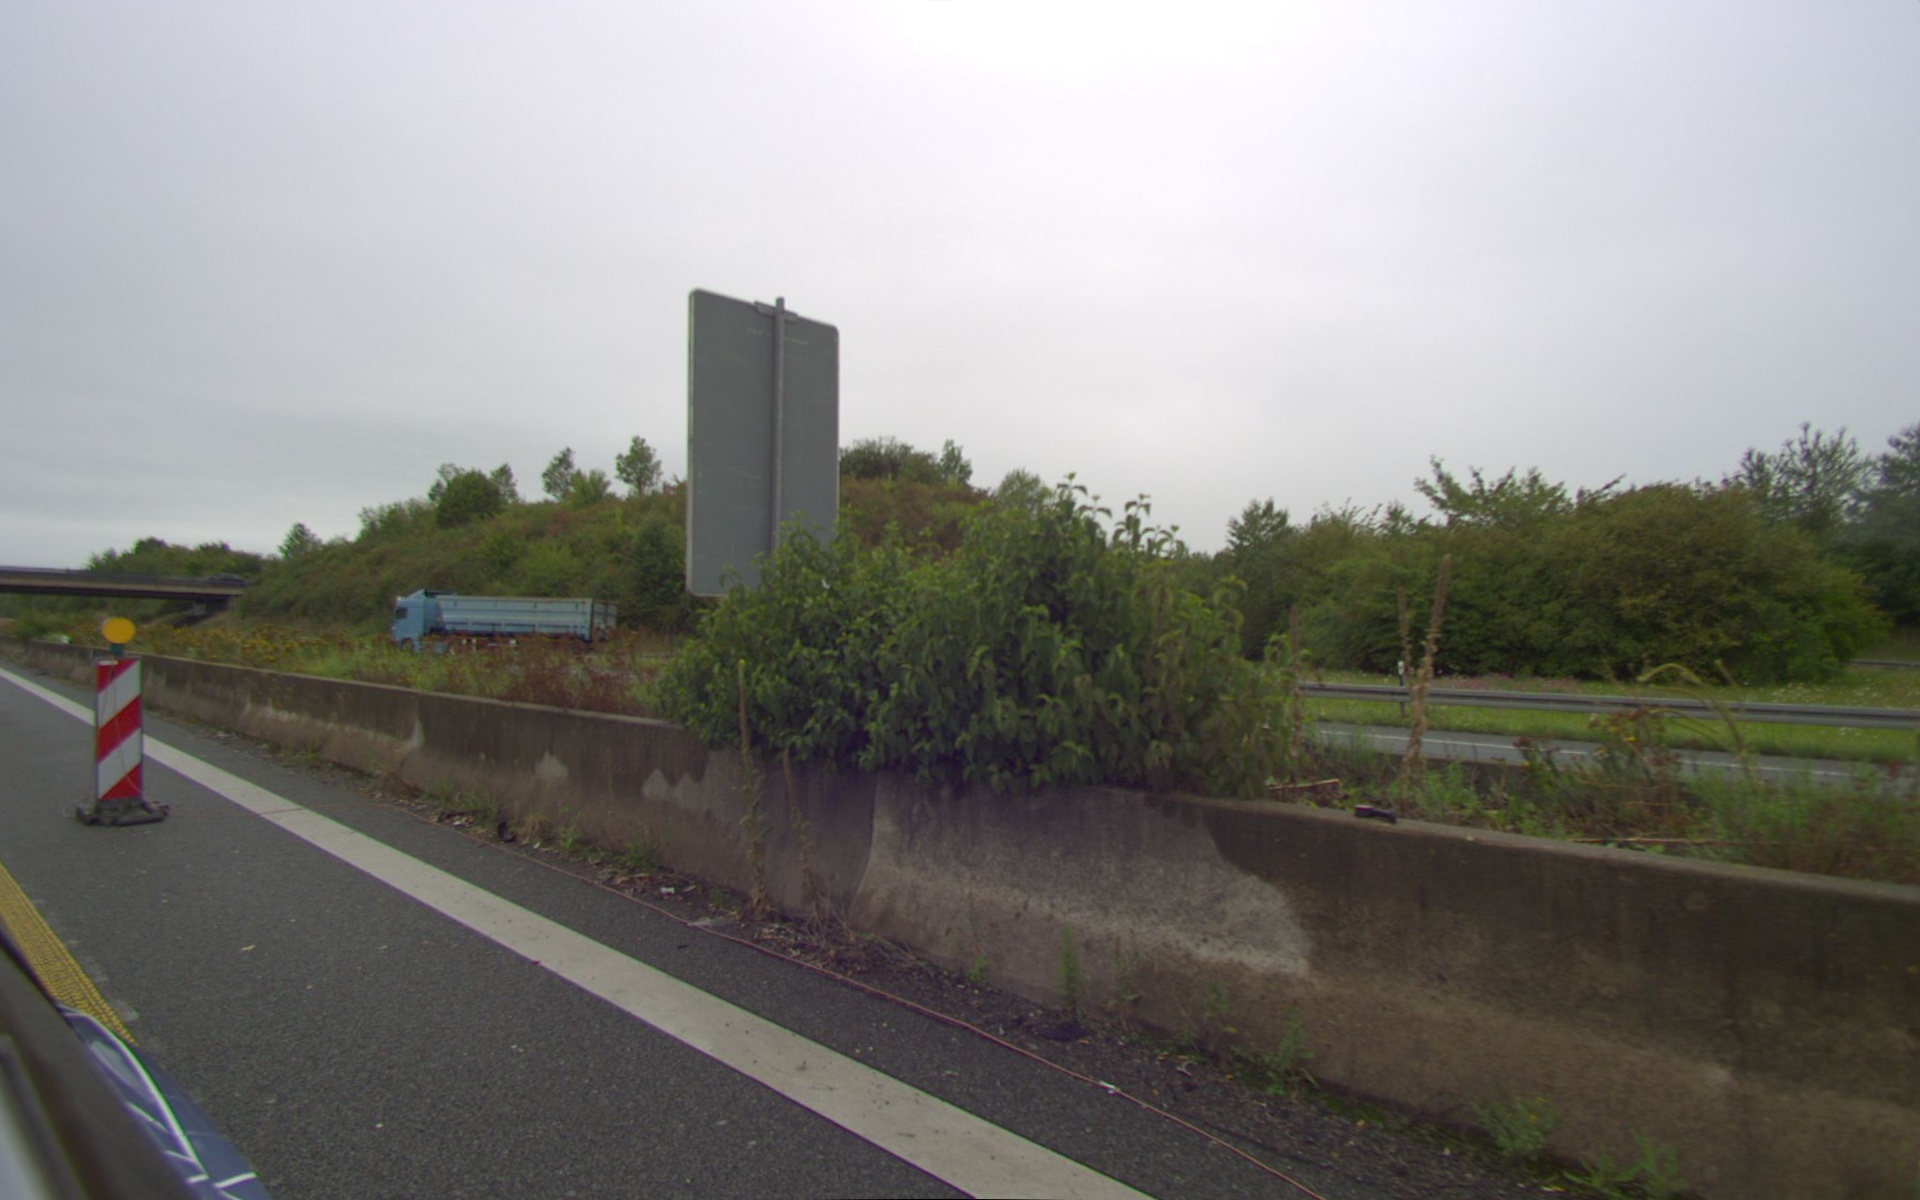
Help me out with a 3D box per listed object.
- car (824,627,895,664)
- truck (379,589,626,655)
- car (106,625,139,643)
[{"bbox_3d":[-5.707,2.582,57.202,3.937,2.029,2.003,1,-2,-7],"label":"car"},{"bbox_3d":[-26.728,1.285,59.112,14.437,3.647,2.888,0,-2,14],"label":"truck"},{"bbox_3d":[-88.936,3.605,107.503,4.226,1.803,1.973,-2,-3,40],"label":"car"}]
